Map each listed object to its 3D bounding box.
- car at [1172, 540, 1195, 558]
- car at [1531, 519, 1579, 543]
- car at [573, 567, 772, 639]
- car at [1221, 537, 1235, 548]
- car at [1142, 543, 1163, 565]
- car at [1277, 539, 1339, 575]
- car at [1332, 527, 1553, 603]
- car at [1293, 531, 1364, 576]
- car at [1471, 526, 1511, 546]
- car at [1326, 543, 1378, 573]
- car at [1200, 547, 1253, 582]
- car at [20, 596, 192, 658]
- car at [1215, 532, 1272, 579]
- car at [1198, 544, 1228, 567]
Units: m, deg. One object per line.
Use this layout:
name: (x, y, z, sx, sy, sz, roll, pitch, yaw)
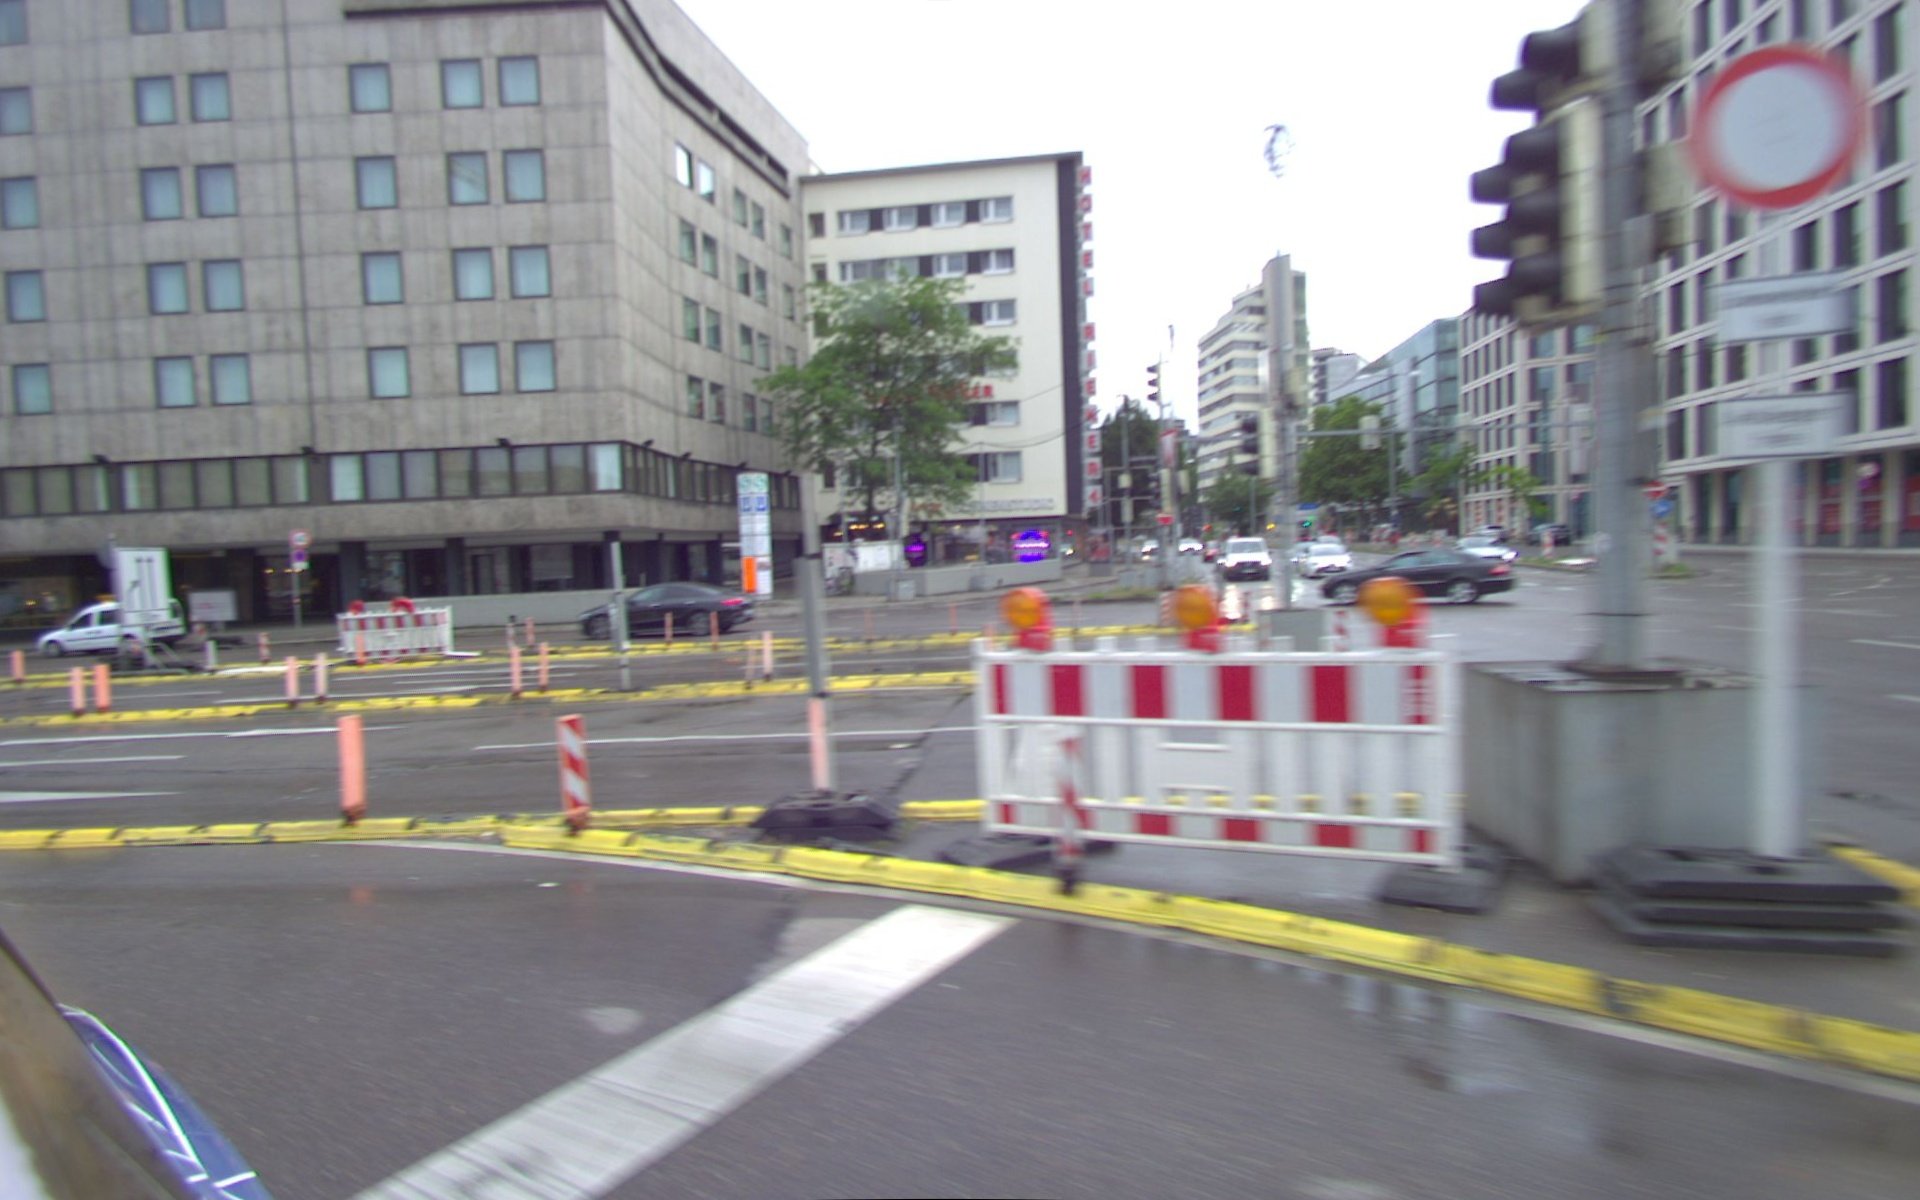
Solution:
car: (20.498, -4.624, 92.816, 1.762, 1.494, 3.477, -3, 2, 8)
car: (42.630, -4.903, 72.612, 1.849, 1.534, 3.982, -2, 2, 14)
car: (-7.572, 0.058, 26.867, 4.607, 1.610, 2.014, -3, 2, 7)
car: (38.426, -8.242, 145.272, 1.849, 1.534, 3.982, -2, 2, 14)
car: (19.055, -4.576, 100.089, 1.905, 2.028, 3.984, -2, 2, 13)
car: (17.641, -2.181, 51.534, 1.994, 1.610, 4.654, -3, 2, 7)
car: (11.950, -0.851, 25.163, 4.654, 1.610, 1.994, -2, 2, 36)
car: (16.049, -2.034, 44.336, 1.996, 1.751, 4.651, -3, 2, 9)
car: (44.190, -5.325, 84.318, 1.848, 1.534, 3.985, -2, 2, 12)
car: (23.799, -2.561, 61.602, 1.996, 1.610, 4.651, -3, 2, 9)
car: (13.603, -1.810, 51.904, 1.994, 1.610, 4.654, -3, 2, 7)
car: (-28.946, 0.889, 34.389, 4.313, 1.775, 1.779, -3, 2, 2)
car: (12.864, -2.039, 46.177, 2.066, 1.918, 5.067, -3, 2, 12)
car: (17.782, -3.148, 71.271, 1.653, 1.494, 3.477, -3, 2, 8)
